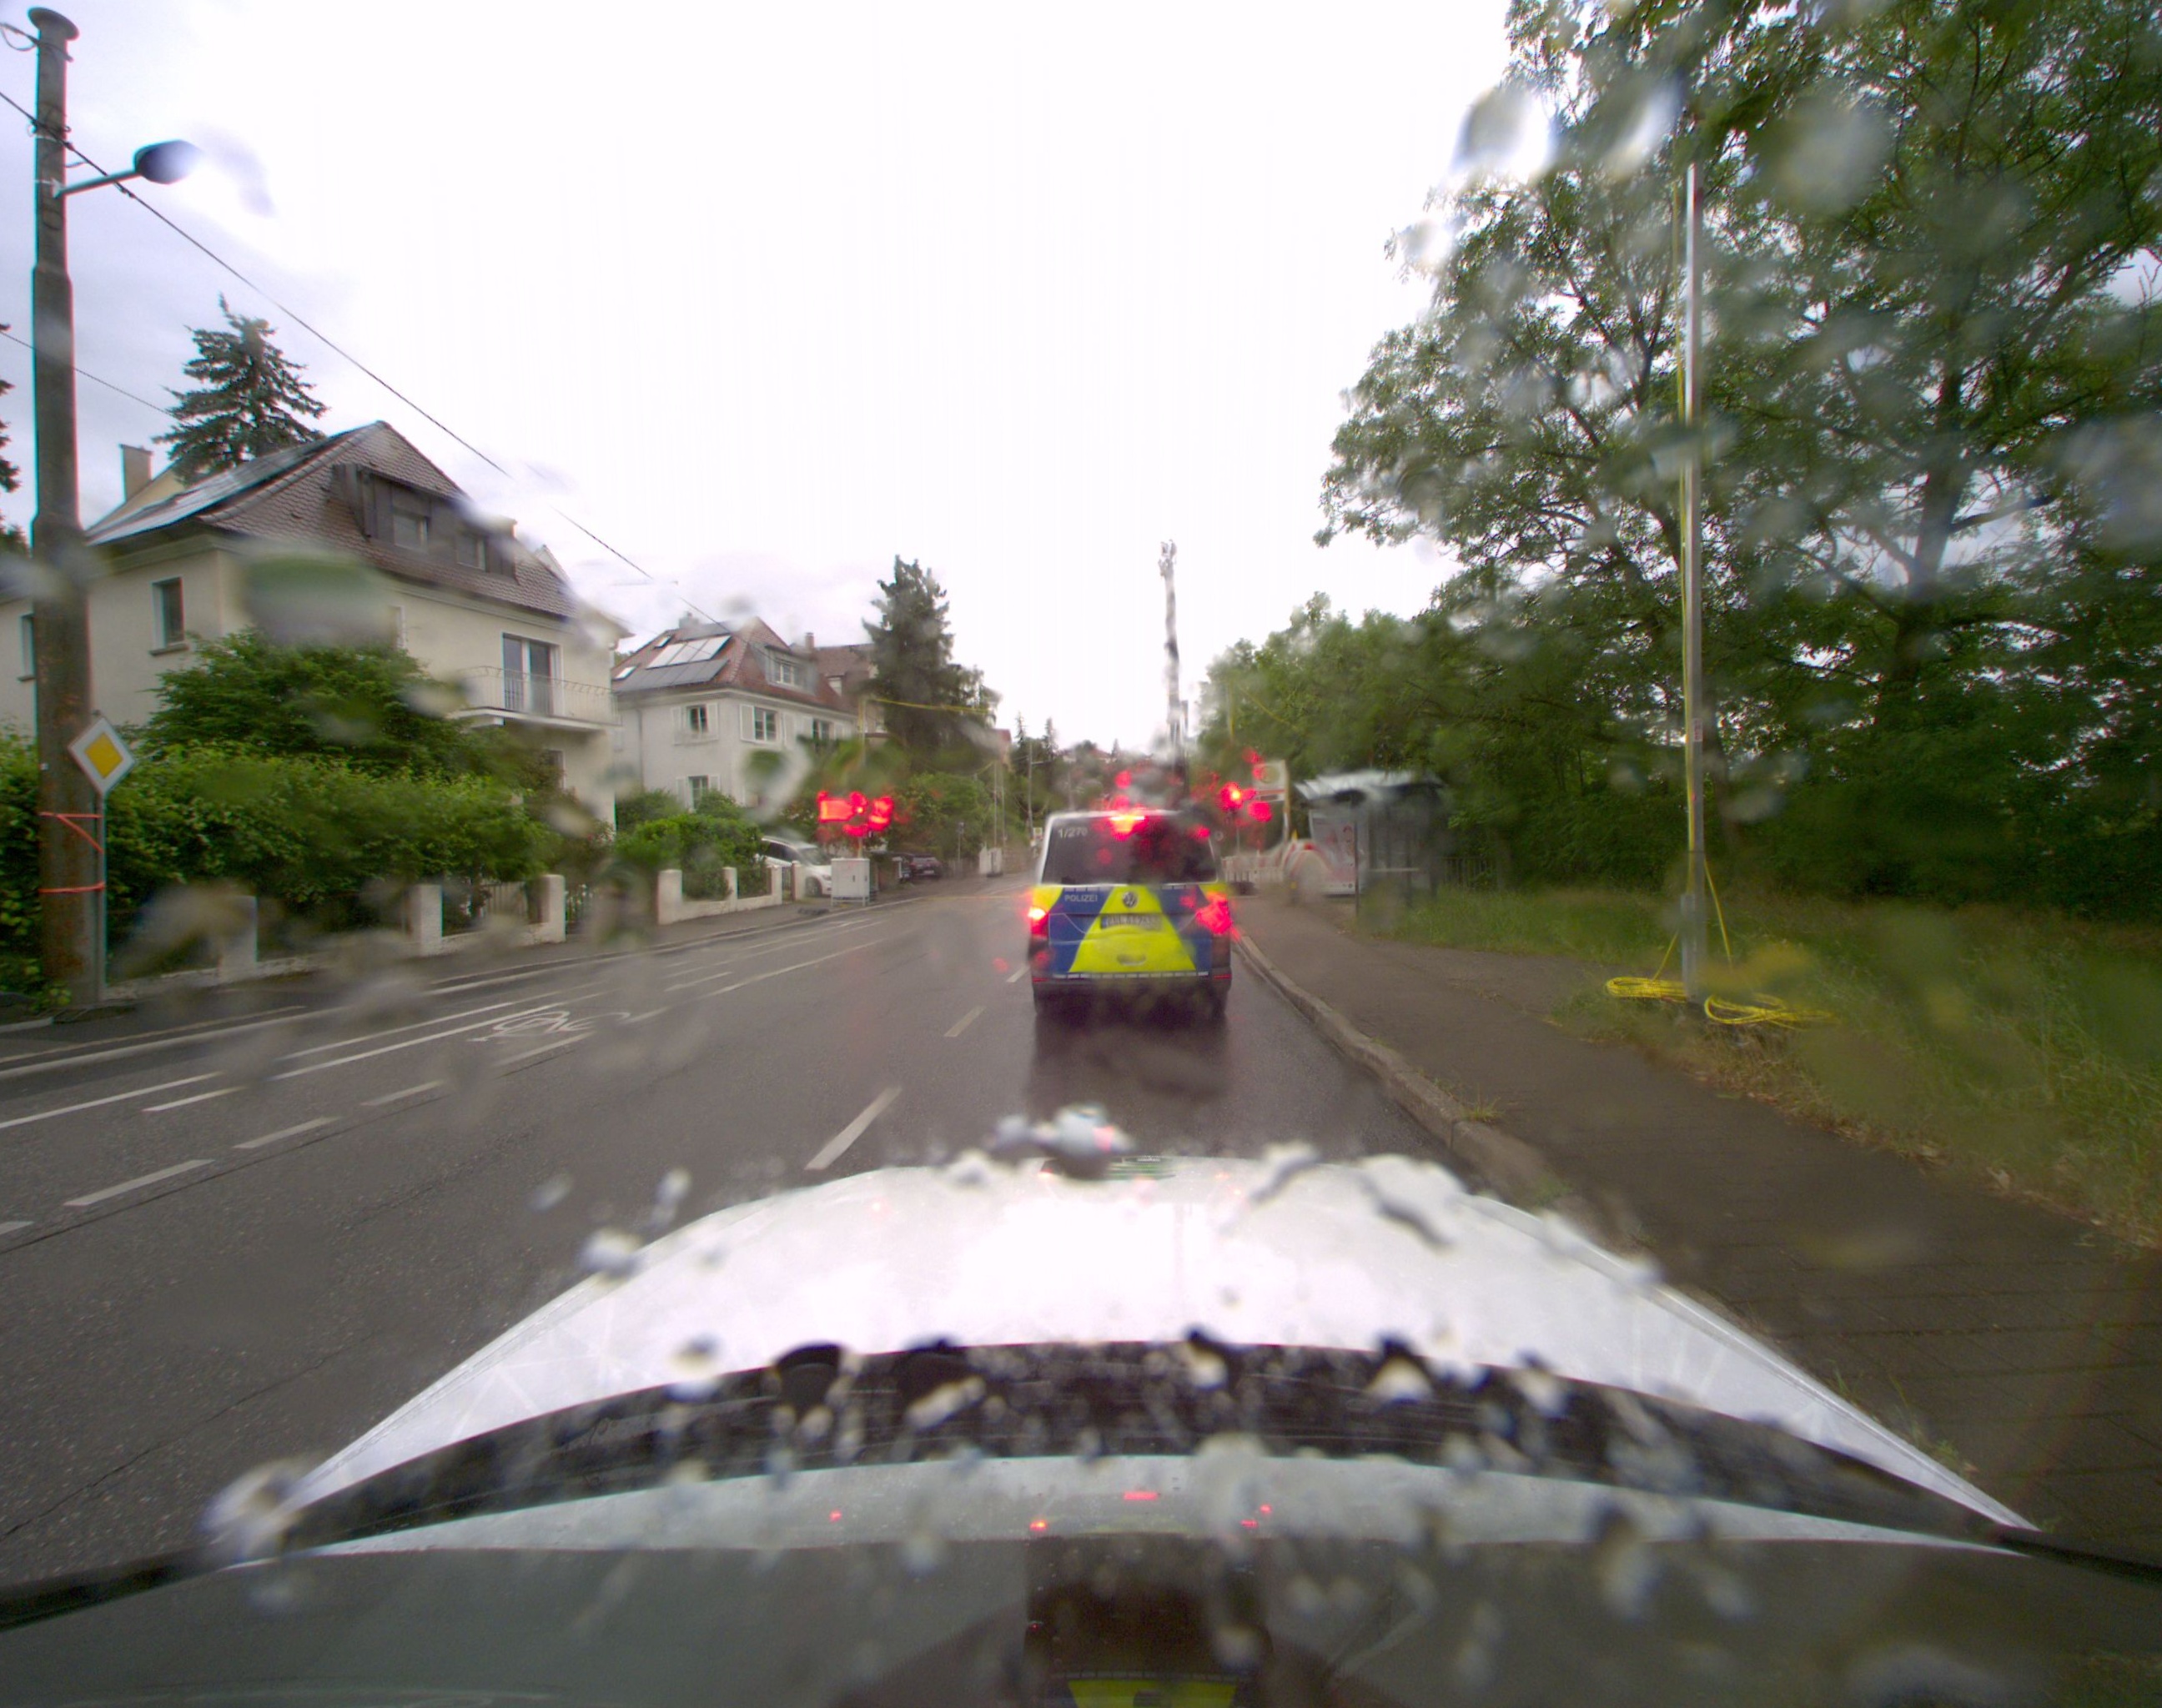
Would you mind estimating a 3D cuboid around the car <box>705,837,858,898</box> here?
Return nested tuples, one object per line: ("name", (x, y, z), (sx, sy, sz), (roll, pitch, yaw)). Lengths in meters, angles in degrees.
("car", (-10.279, 0.458, 28.058), (4.599, 2.007, 1.907), (0, 0, 13))

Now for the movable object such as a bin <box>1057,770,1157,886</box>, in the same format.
("movable object such as a bin", (1.107, -0.930, 31.774), (2.809, 4.177, 4.400), (0, 0, 17))

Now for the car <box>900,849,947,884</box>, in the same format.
("car", (-7.454, 0.555, 38.301), (1.770, 1.486, 3.720), (0, 1, -17))

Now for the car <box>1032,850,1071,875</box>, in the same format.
("car", (-1.854, 0.548, 52.681), (1.843, 1.527, 4.828), (0, 0, 6))

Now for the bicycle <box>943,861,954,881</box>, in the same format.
("bicycle", (-6.499, 0.825, 39.891), (0.463, 0.897, 1.627), (-1, 0, -12))

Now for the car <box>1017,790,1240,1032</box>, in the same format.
("car", (0.464, 0.483, 8.943), (1.886, 2.050, 4.002), (0, 0, 2))
